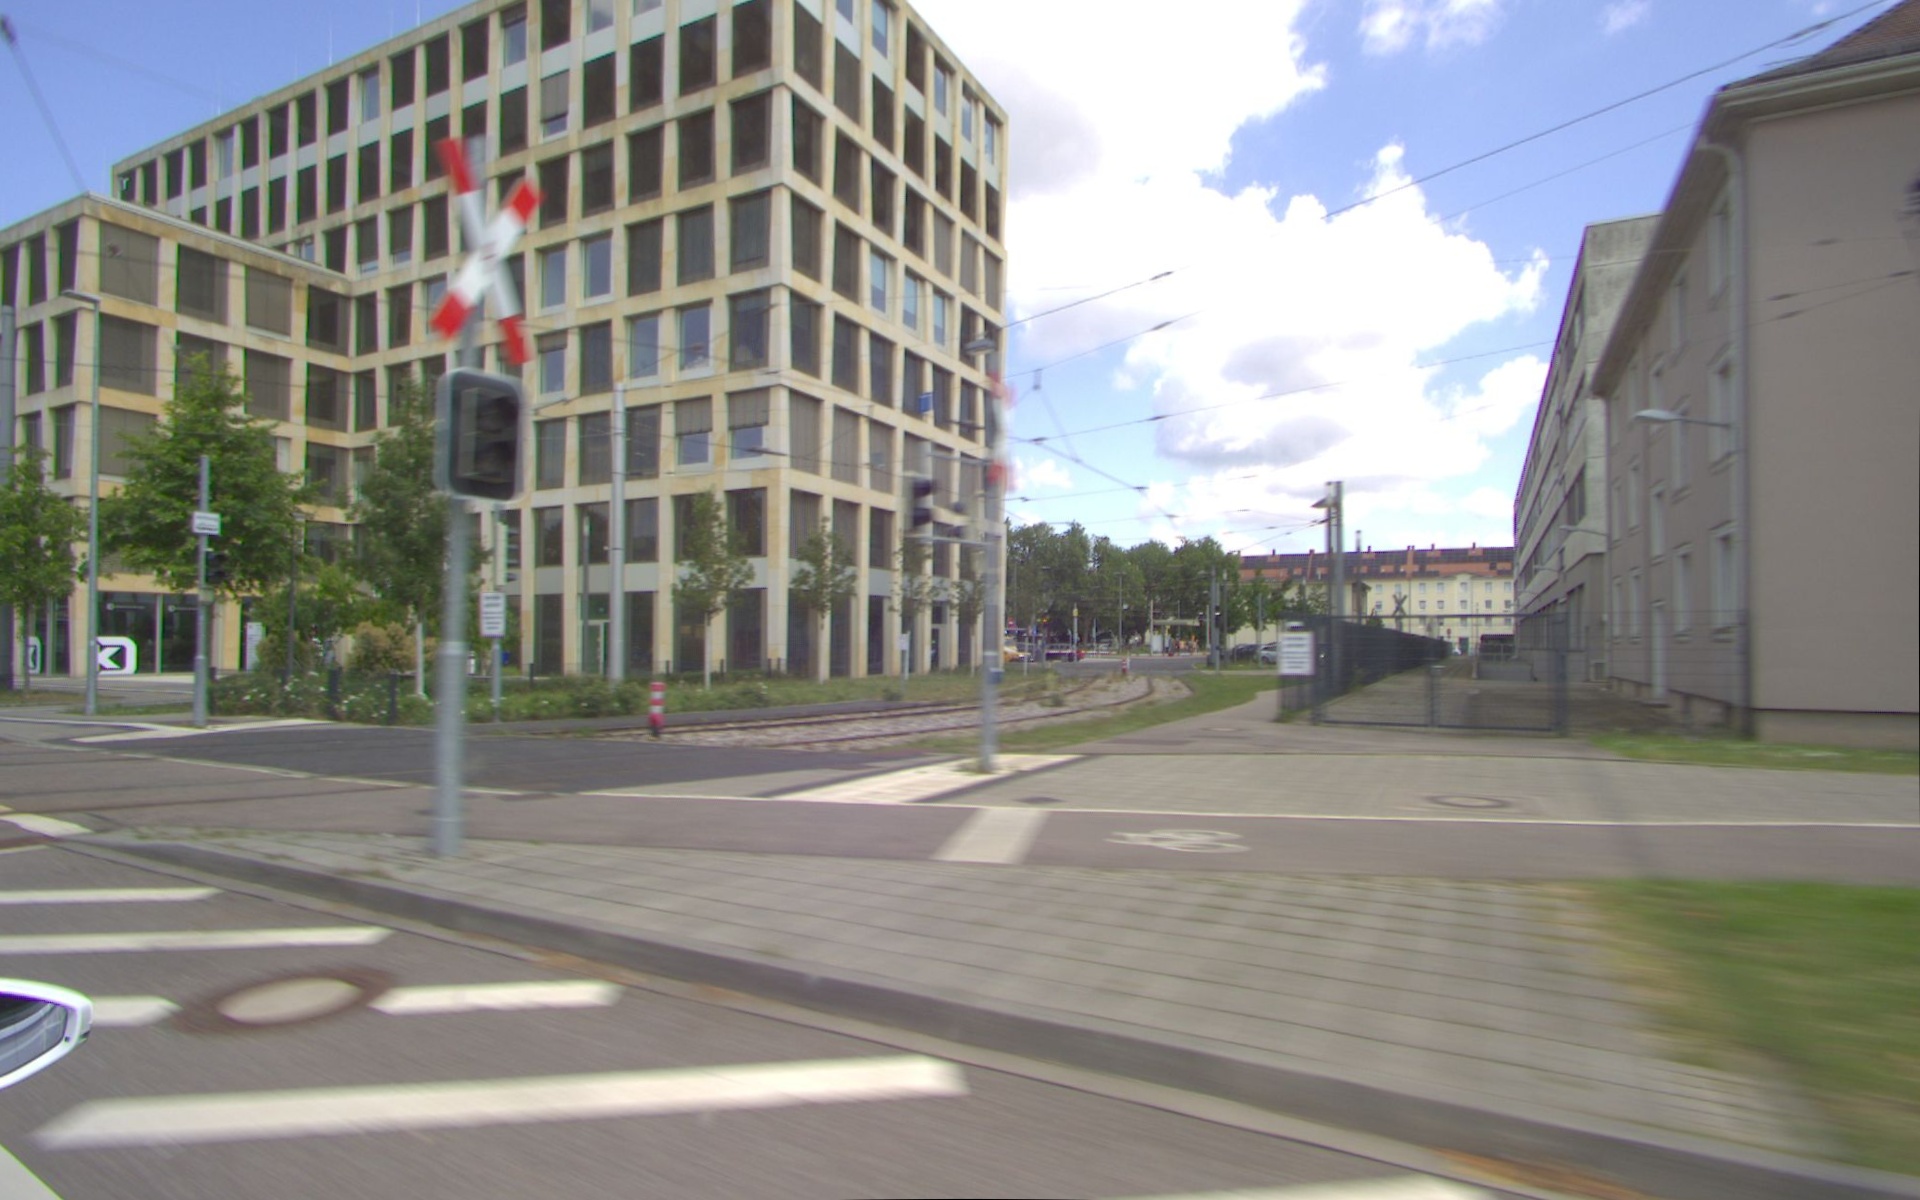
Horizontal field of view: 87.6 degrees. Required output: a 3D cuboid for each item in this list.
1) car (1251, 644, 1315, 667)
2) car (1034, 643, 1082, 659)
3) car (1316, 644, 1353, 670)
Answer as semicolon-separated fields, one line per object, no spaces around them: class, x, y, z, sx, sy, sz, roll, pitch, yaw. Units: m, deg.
car;22.577;3.856;69.937;3.972;1.586;1.801;-2;-3;30
car;8.761;4.552;89.369;3.934;1.372;1.624;-1;-1;25
car;24.248;3.682;64.774;1.780;1.586;4.020;-1;-4;27
